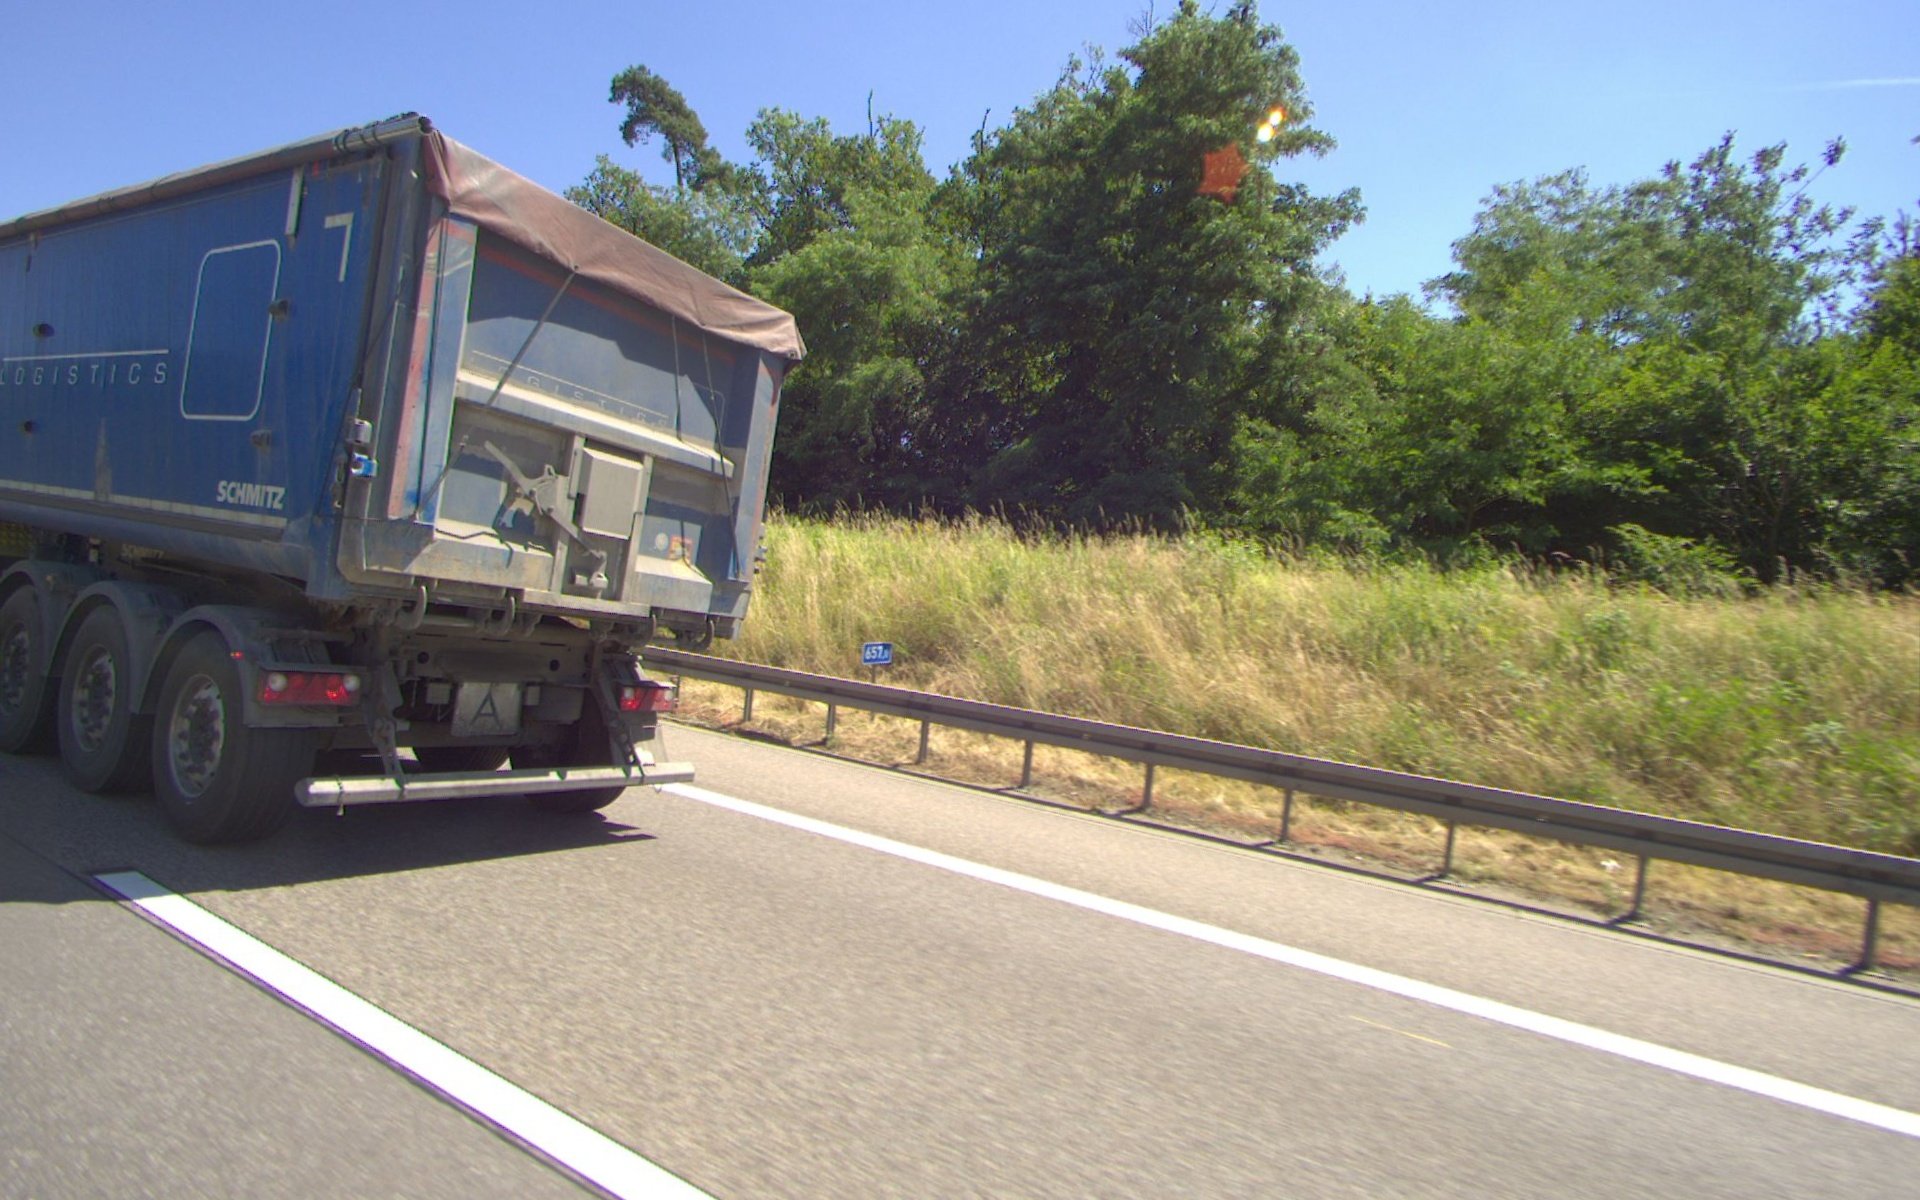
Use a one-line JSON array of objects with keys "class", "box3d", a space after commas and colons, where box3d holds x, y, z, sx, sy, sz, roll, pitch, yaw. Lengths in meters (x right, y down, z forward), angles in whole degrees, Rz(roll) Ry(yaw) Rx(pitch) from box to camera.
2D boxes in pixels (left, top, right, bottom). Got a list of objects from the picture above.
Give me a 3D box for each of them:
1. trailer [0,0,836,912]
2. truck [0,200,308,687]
[{"class": "trailer", "box3d": [-5.488, -0.964, 7.542, 8.958, 3.804, 2.741, 7, -1, 32]}, {"class": "truck", "box3d": [-9.705, -1.440, 10.234, 5.847, 3.804, 2.688, 7, -1, 33]}]
